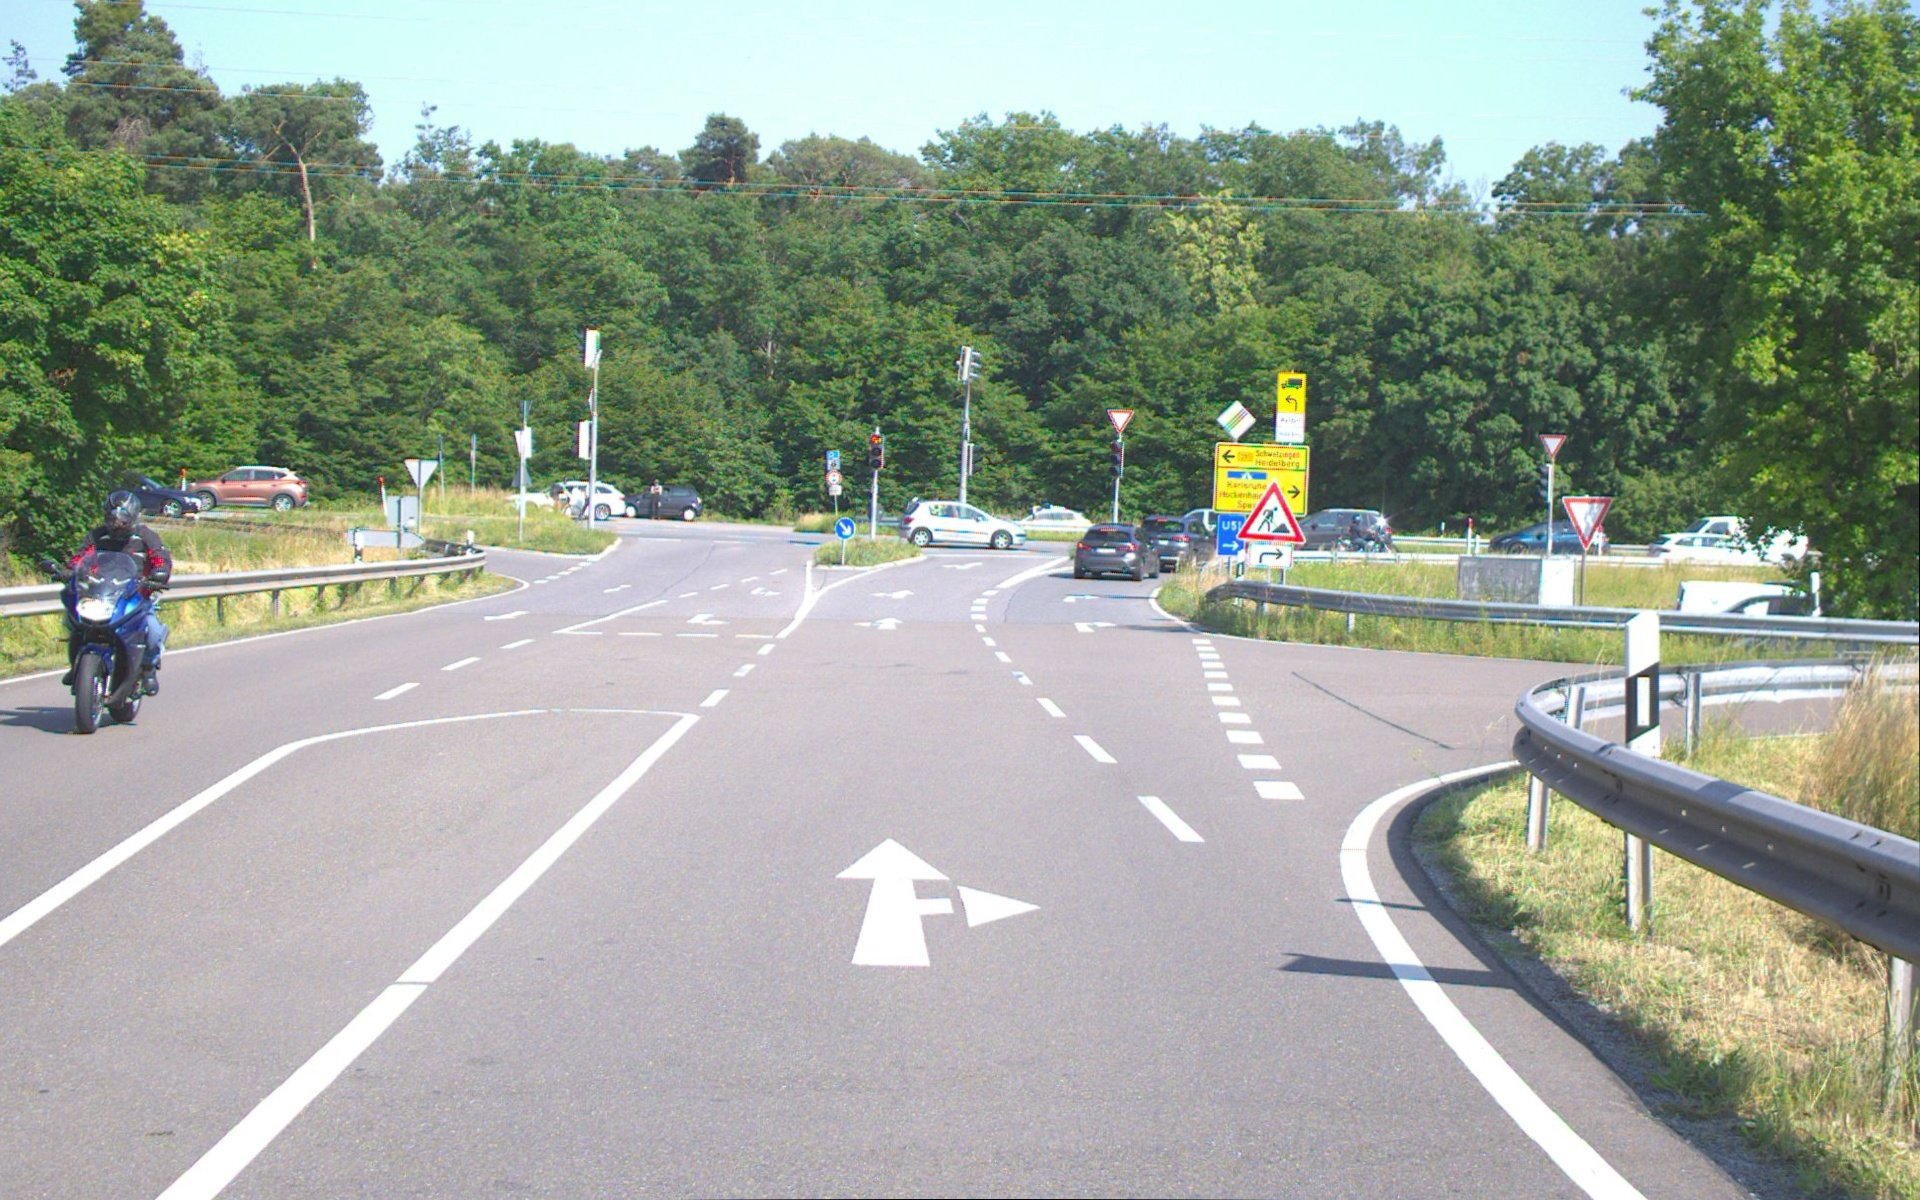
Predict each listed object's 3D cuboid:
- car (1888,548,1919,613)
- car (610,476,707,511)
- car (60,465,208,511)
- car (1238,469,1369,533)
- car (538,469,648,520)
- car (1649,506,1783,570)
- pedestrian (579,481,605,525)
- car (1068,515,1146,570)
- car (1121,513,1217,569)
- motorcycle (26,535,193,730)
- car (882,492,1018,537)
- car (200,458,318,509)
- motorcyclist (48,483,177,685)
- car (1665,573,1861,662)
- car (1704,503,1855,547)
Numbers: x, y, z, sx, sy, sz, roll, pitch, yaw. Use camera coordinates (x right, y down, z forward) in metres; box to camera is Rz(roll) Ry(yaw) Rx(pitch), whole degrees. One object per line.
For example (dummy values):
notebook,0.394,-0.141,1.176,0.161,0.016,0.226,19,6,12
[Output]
car,29.873,-0.446,101.917,3.997,1.870,1.887,6,3,39
car,-12.602,-4.438,143.439,3.986,1.417,1.796,0,1,-6
car,-26.383,-3.565,109.910,4.363,1.454,2.001,0,1,-7
car,11.394,-3.299,114.227,3.986,2.006,1.801,1,2,-6
car,-14.584,-4.195,136.615,3.986,2.007,1.796,-1,1,-21
car,25.430,-2.092,115.638,3.986,2.006,1.801,1,2,-4
pedestrian,-14.440,-3.825,135.070,0.678,1.715,0.758,2,2,29
car,3.921,-1.538,91.029,1.800,1.393,3.999,-1,1,6
car,5.999,-1.691,98.348,1.801,1.495,3.997,3,2,17
motorcycle,-5.991,0.198,24.323,0.717,1.304,2.182,0,1,-2
car,-0.339,-2.783,112.155,4.227,1.454,2.001,0,1,-7
car,-24.290,-4.015,119.177,3.986,1.744,1.764,0,1,-11
motorcyclist,-5.996,-0.125,24.373,0.699,1.403,0.979,0,1,-2
car,18.865,0.392,80.857,4.357,1.777,1.900,3,2,13
car,29.358,-2.702,123.225,4.880,1.546,2.001,0,1,-6
